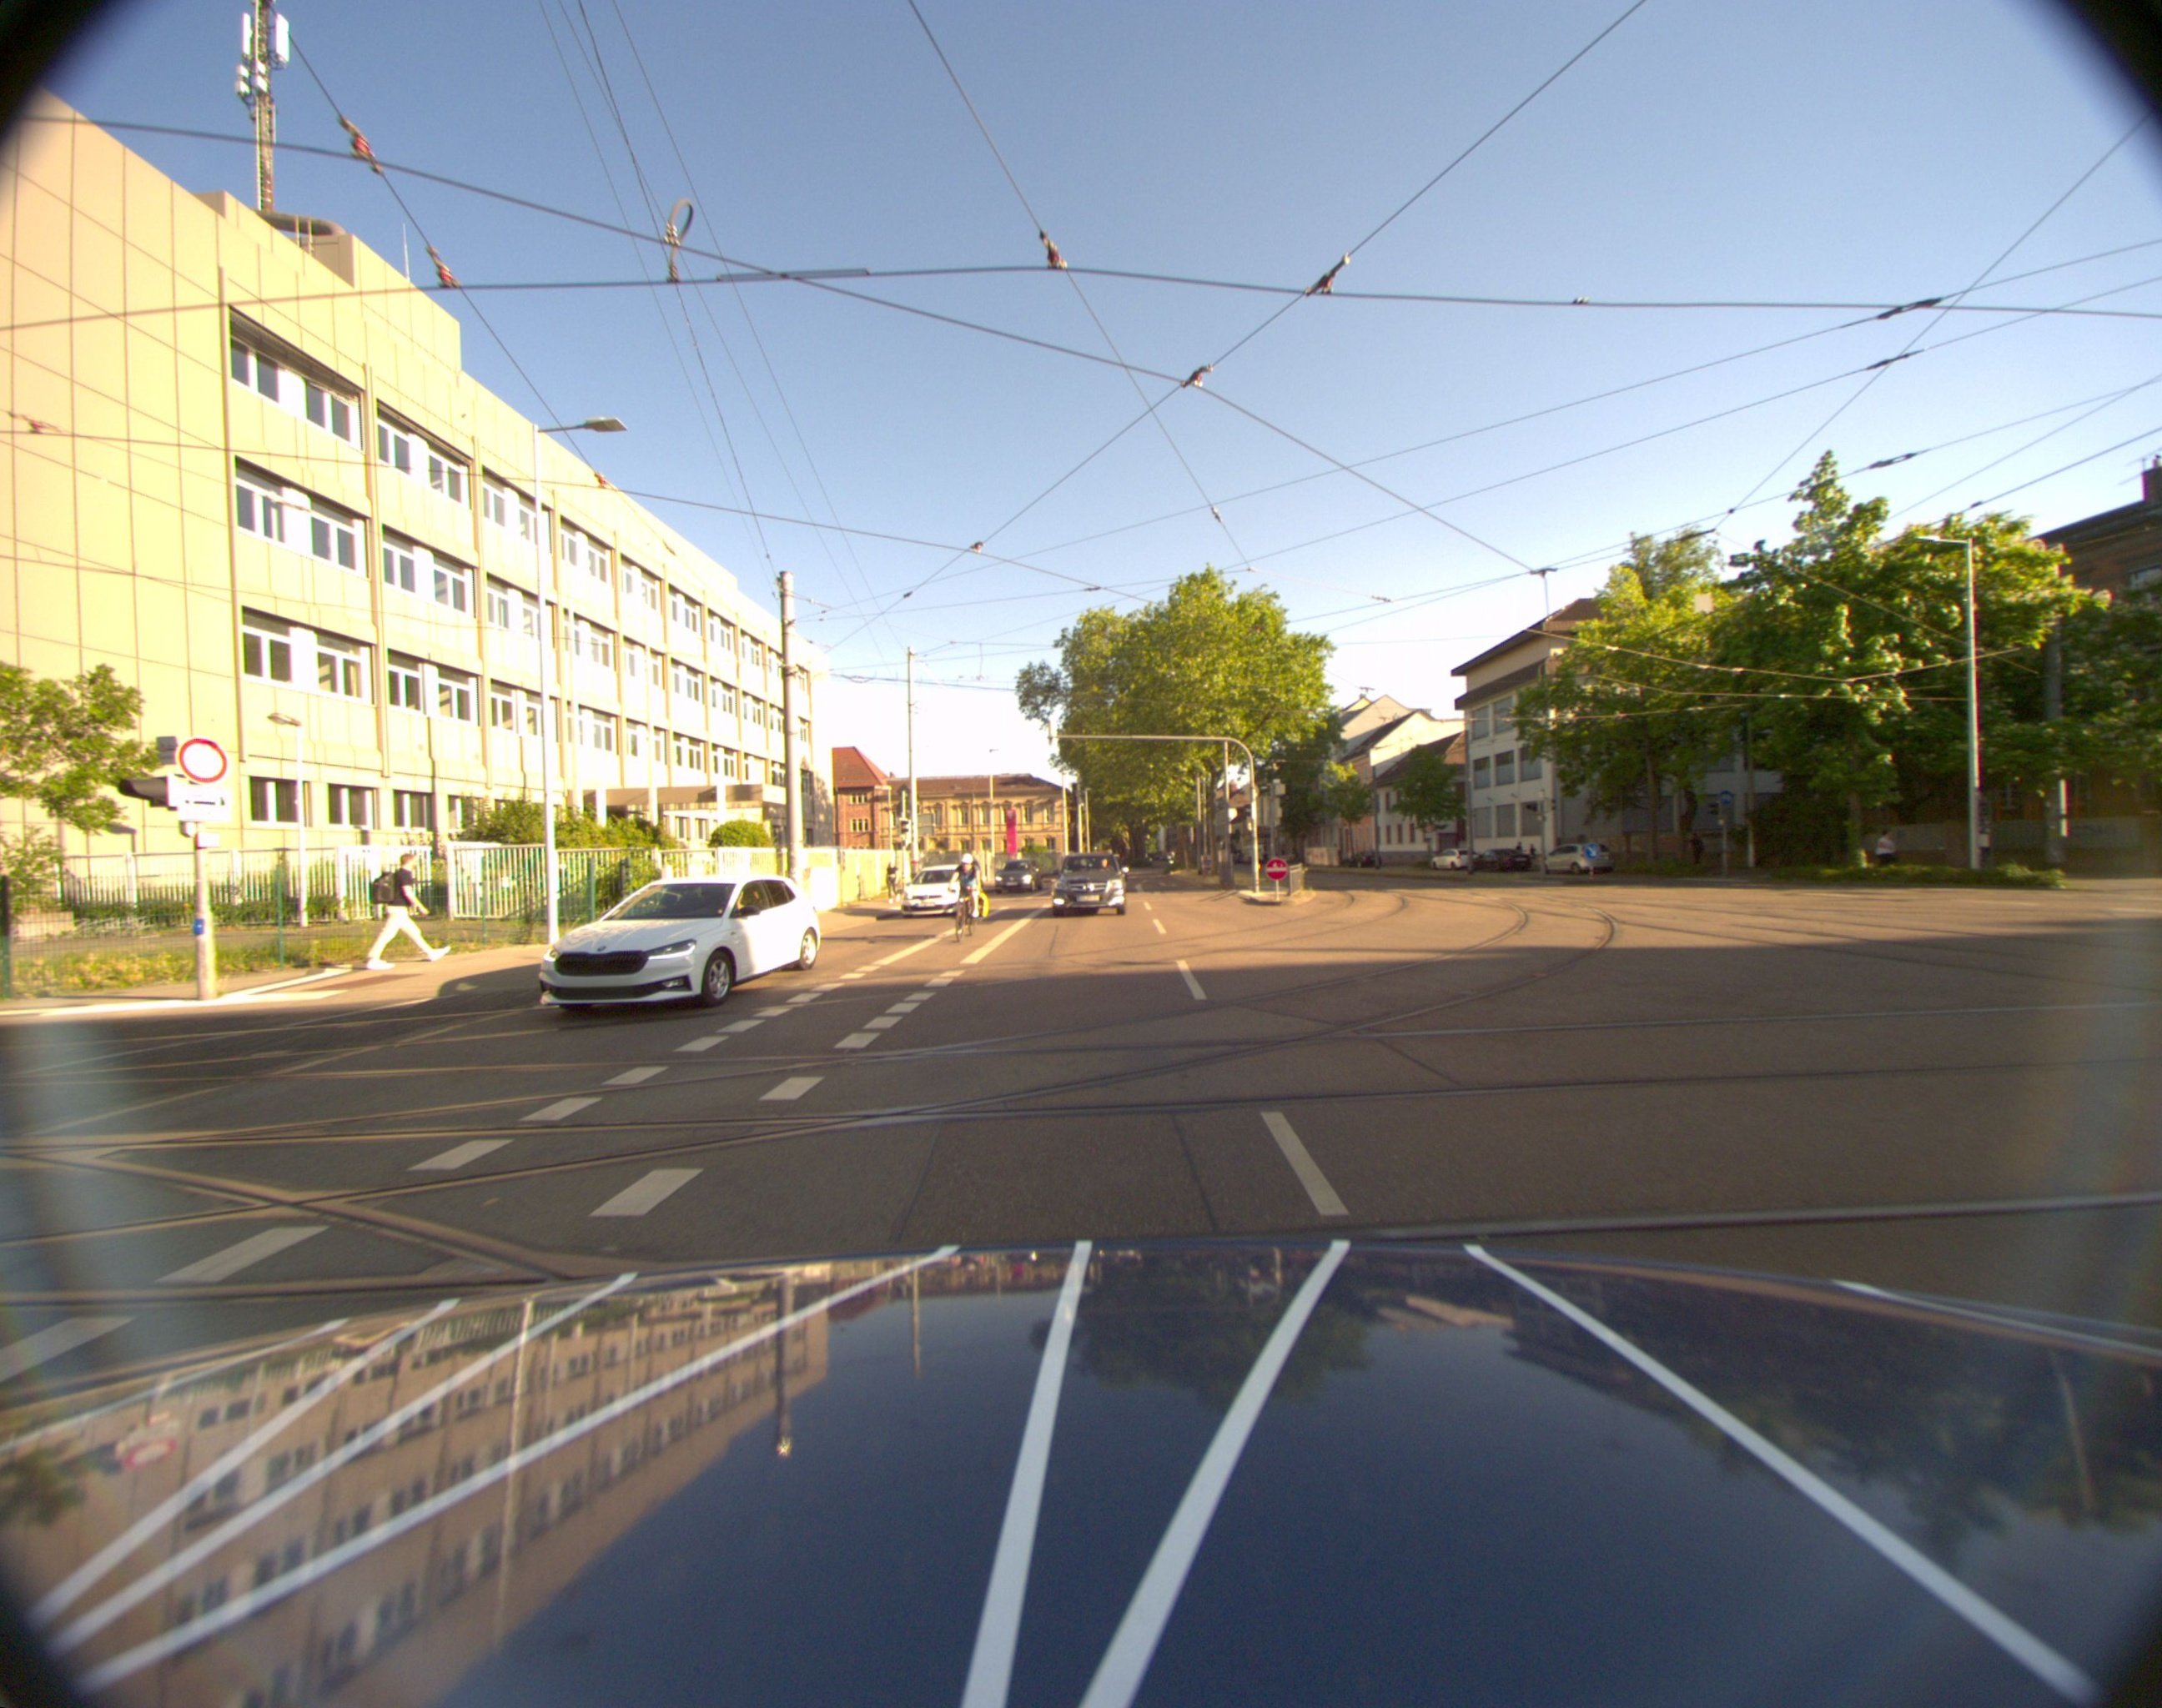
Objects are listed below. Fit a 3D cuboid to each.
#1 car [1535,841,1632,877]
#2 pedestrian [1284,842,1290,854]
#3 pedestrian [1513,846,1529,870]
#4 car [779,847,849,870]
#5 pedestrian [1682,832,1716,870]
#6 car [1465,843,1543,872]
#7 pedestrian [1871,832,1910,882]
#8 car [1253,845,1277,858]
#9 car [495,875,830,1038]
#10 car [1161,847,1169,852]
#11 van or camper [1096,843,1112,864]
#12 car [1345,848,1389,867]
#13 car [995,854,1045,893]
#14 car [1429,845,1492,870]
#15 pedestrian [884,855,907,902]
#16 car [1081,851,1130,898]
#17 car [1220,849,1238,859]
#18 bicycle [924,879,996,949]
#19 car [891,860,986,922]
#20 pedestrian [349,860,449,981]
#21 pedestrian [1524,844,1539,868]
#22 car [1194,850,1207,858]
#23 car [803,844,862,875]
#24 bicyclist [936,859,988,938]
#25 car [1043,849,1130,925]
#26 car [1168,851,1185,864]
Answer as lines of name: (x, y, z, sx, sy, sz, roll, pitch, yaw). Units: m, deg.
car: (25.657, 0.249, 38.992, 2.087, 1.610, 4.097, -4, 0, -1)
pedestrian: (30.058, -0.854, 110.960, 0.561, 1.798, 0.705, -2, 1, -5)
pedestrian: (28.046, 0.277, 48.454, 0.537, 1.519, 0.711, -2, 1, -5)
car: (-20.410, 0.351, 58.164, 4.573, 1.572, 2.000, -2, 0, 1)
pedestrian: (29.043, -0.120, 35.718, 0.736, 1.742, 1.019, -2, 1, 0)
car: (25.371, 0.211, 45.775, 2.087, 1.493, 4.457, -4, 0, -1)
pedestrian: (27.906, 0.090, 26.194, 0.569, 1.655, 0.631, -4, 1, 0)
car: (26.547, -0.410, 109.711, 2.087, 1.664, 4.532, -4, 0, -1)
car: (-4.757, 1.061, 9.438, 1.705, 1.381, 4.075, -3, 0, 3)
car: (28.545, -1.635, 259.001, 2.087, 1.531, 4.127, -4, 0, -1)
van or camper: (3.102, -0.050, 100.811, 1.998, 2.578, 5.626, -3, 1, 2)
car: (25.689, 0.297, 68.473, 2.087, 1.462, 4.579, -4, 0, -1)
car: (-2.940, 0.914, 37.398, 1.793, 1.634, 4.301, -4, 0, 2)
car: (25.663, 0.224, 51.546, 2.087, 1.481, 3.996, -4, 0, -1)
pedestrian: (-7.123, 0.929, 29.179, 0.592, 1.752, 0.770, -2, 1, 7)
car: (1.053, 0.810, 31.895, 1.793, 1.694, 4.301, -4, 0, 2)
car: (25.792, 0.053, 132.757, 2.087, 1.531, 4.516, -4, 0, -1)
bicycle: (-2.267, 1.092, 14.562, 0.764, 1.137, 2.307, -2, 0, 5)
car: (-4.157, 1.027, 22.948, 1.793, 1.493, 4.301, -4, 0, 2)
pedestrian: (-10.971, 1.033, 12.245, 1.084, 1.802, 0.735, -4, 2, -42)
pedestrian: (28.884, 0.133, 48.685, 0.537, 1.519, 0.712, -2, 1, 1)
car: (26.877, -0.029, 170.671, 2.087, 1.531, 4.255, -4, 0, -1)
car: (-15.965, 0.316, 49.085, 1.998, 1.832, 4.785, -2, 0, 2)
bicyclist: (-2.267, 0.835, 14.589, 0.727, 1.414, 0.859, -3, 1, 5)
car: (0.259, 0.764, 20.059, 1.908, 1.634, 4.517, -4, 0, 3)
car: (13.809, 0.456, 110.129, 1.998, 1.761, 4.000, -3, 1, 2)
